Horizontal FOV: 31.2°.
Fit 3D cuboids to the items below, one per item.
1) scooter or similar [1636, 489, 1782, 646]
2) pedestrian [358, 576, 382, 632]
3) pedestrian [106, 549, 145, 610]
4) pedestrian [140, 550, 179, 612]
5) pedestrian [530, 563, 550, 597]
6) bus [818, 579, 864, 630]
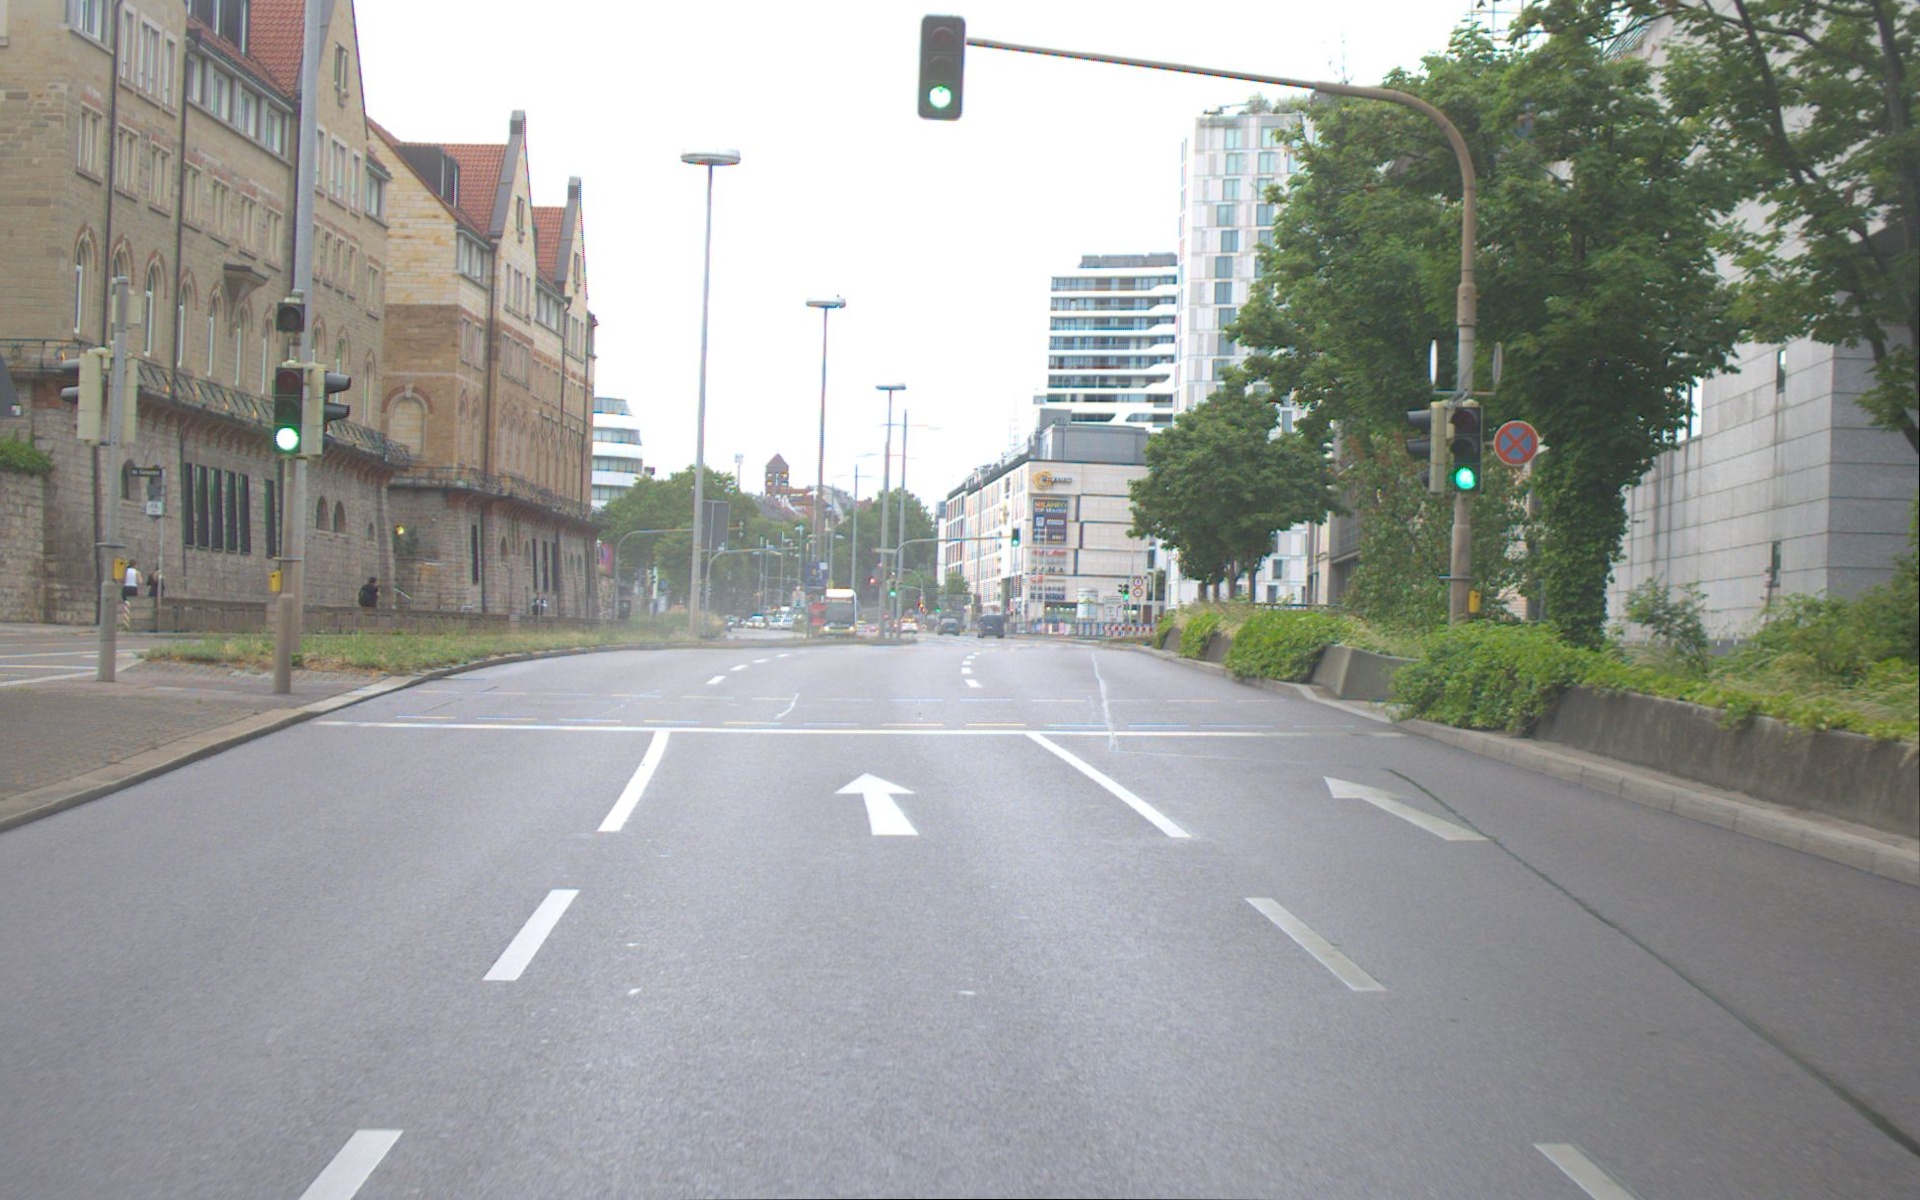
[{"bbox_3d":[7.620,-0.333,35.005,1.323,1.525,0.502,2,1,4],"label":"scooter or similar"},{"bbox_3d":[-18.757,0.126,109.302,0.640,1.740,0.621,1,1,0],"label":"pedestrian"},{"bbox_3d":[-20.262,-0.505,83.516,0.754,1.473,0.714,1,1,1],"label":"pedestrian"},{"bbox_3d":[-19.427,-0.466,83.474,0.754,1.473,0.714,1,1,1],"label":"pedestrian"},{"bbox_3d":[-18.029,-0.861,147.691,0.754,1.473,0.714,1,1,1],"label":"pedestrian"},{"bbox_3d":[-8.453,0.358,245.701,2.698,3.547,10.092,1,-1,1],"label":"bus"}]
